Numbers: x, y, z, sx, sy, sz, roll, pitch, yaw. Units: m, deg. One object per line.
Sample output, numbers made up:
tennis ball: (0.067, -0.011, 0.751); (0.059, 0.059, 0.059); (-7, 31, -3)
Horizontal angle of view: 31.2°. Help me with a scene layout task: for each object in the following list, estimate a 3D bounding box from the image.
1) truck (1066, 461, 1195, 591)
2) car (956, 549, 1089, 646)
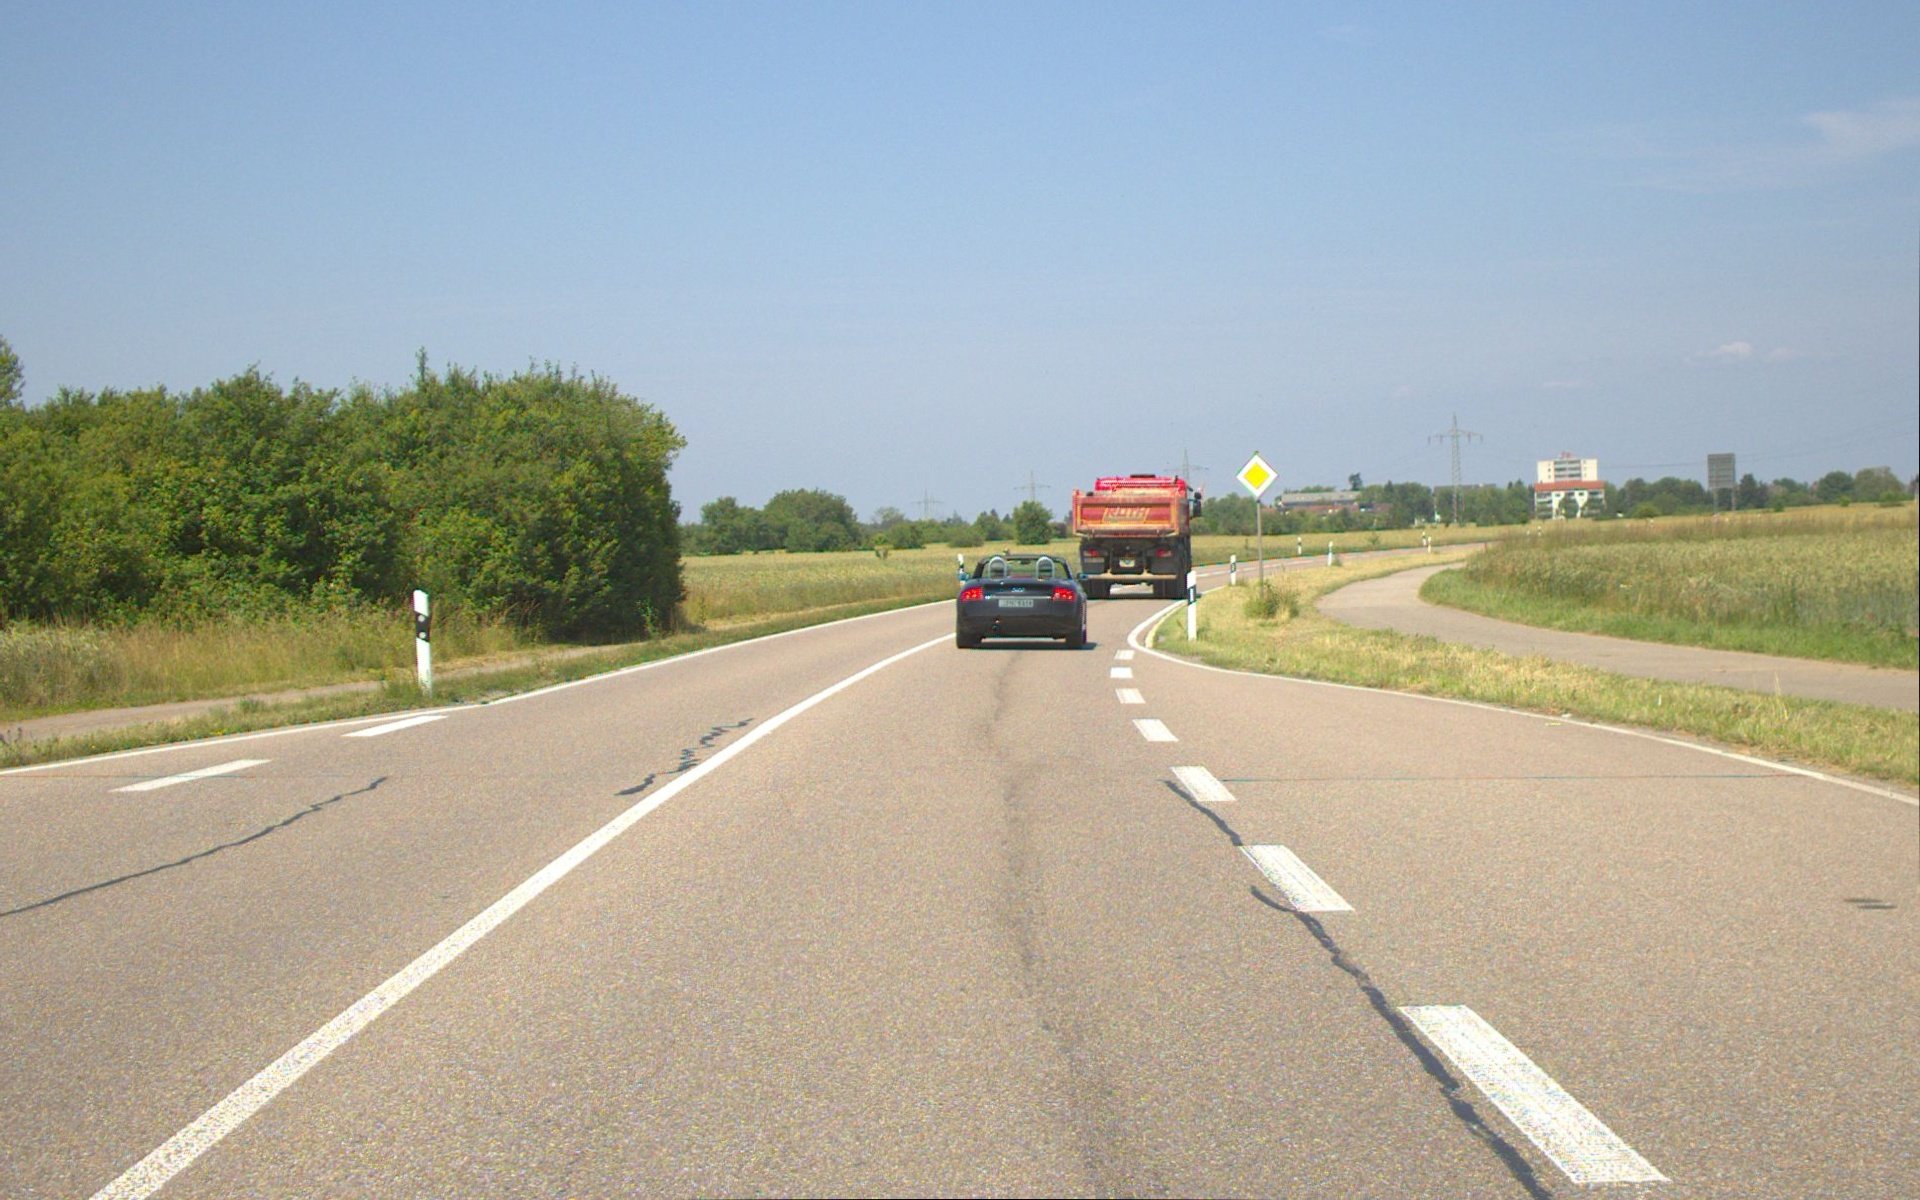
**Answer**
truck: (4.302, -1.814, 85.543); (2.938, 3.078, 7.195); (-1, 1, 5)
car: (0.919, -0.064, 48.165); (1.744, 1.275, 4.000); (0, 1, 3)
